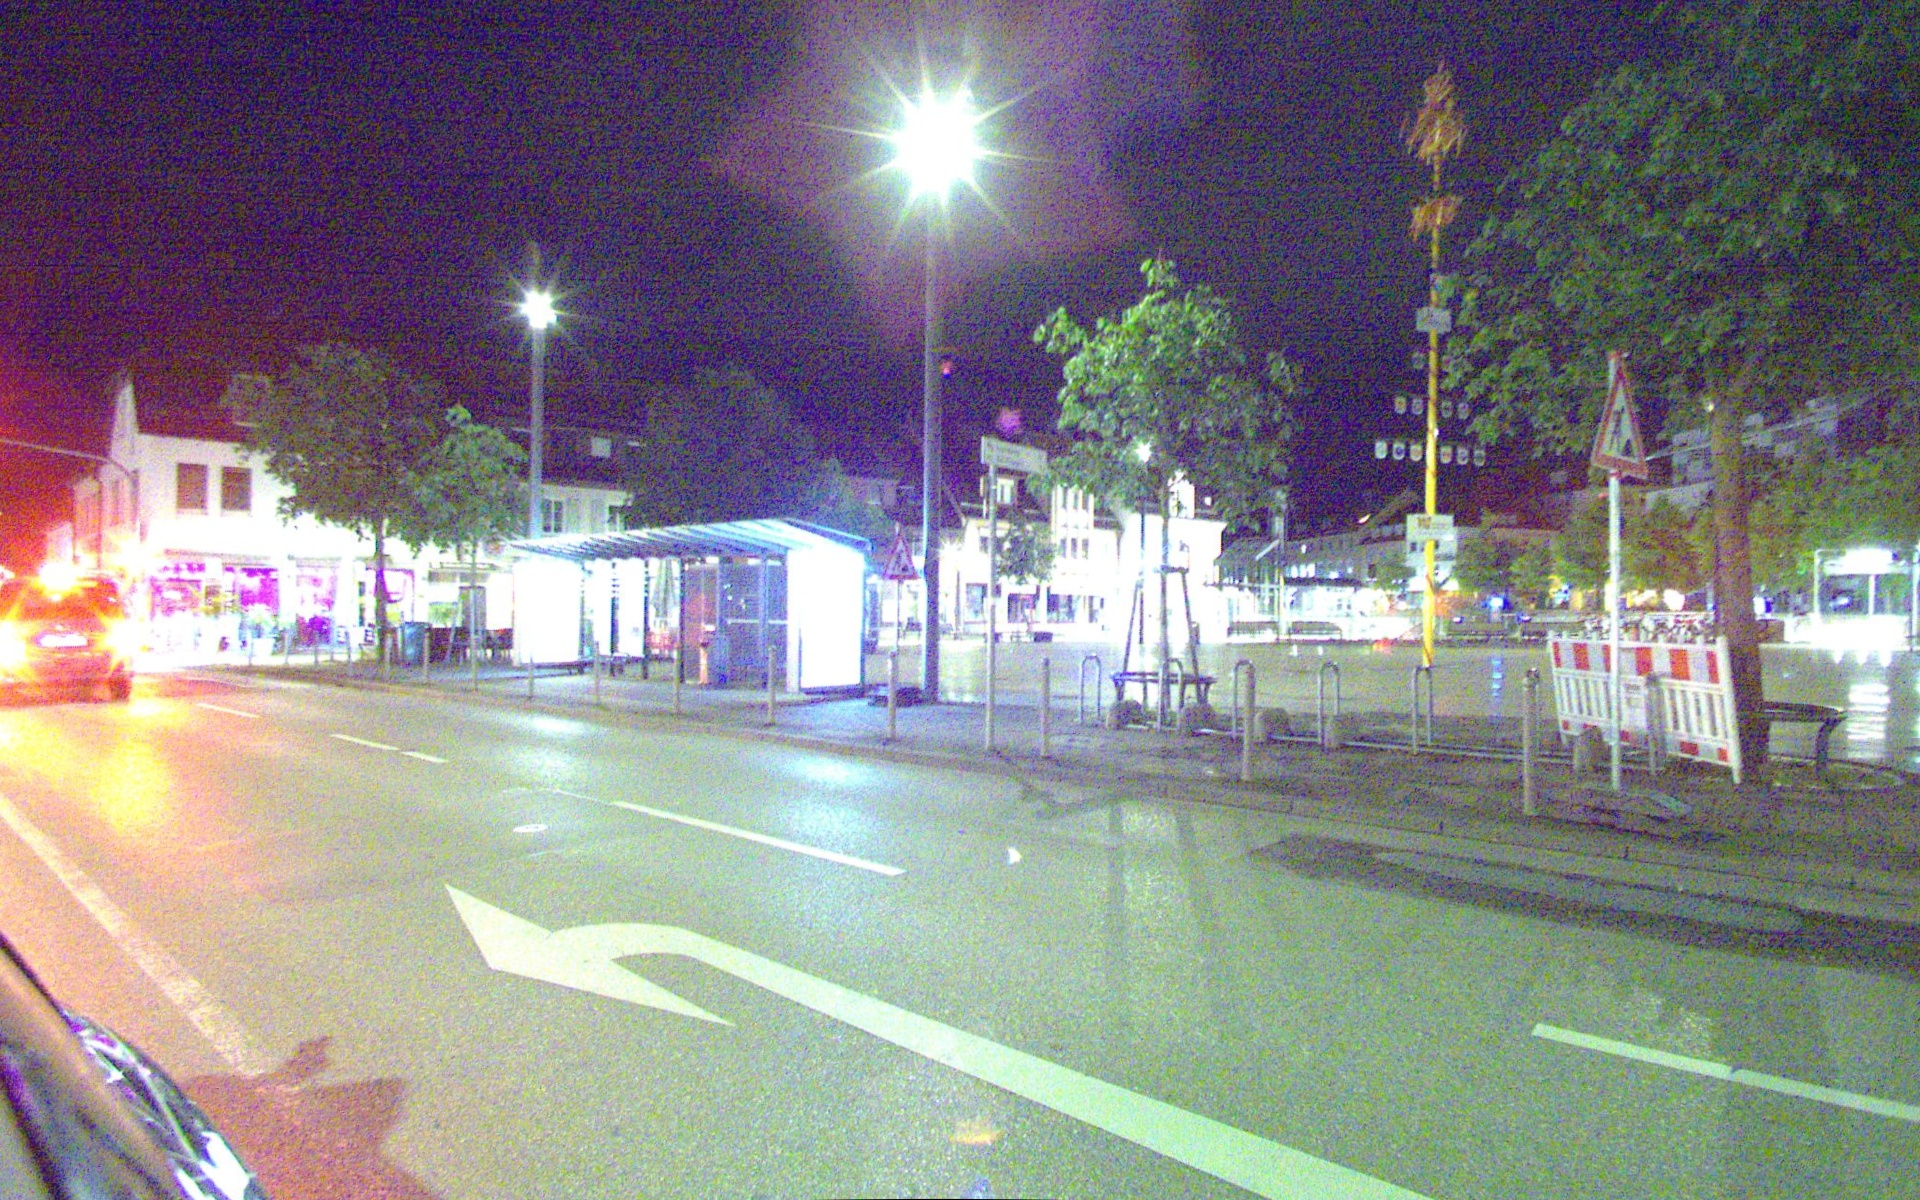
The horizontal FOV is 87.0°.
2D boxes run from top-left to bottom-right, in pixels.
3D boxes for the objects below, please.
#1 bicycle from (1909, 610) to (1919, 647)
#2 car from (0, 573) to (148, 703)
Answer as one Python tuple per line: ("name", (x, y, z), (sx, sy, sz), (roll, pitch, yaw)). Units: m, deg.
("bicycle", (26.404, 0.753, 26.975), (1.525, 0.965, 0.476), (-1, 0, 25))
("car", (-15.327, 0.592, 16.878), (4.909, 1.886, 1.946), (-1, -1, 41))
